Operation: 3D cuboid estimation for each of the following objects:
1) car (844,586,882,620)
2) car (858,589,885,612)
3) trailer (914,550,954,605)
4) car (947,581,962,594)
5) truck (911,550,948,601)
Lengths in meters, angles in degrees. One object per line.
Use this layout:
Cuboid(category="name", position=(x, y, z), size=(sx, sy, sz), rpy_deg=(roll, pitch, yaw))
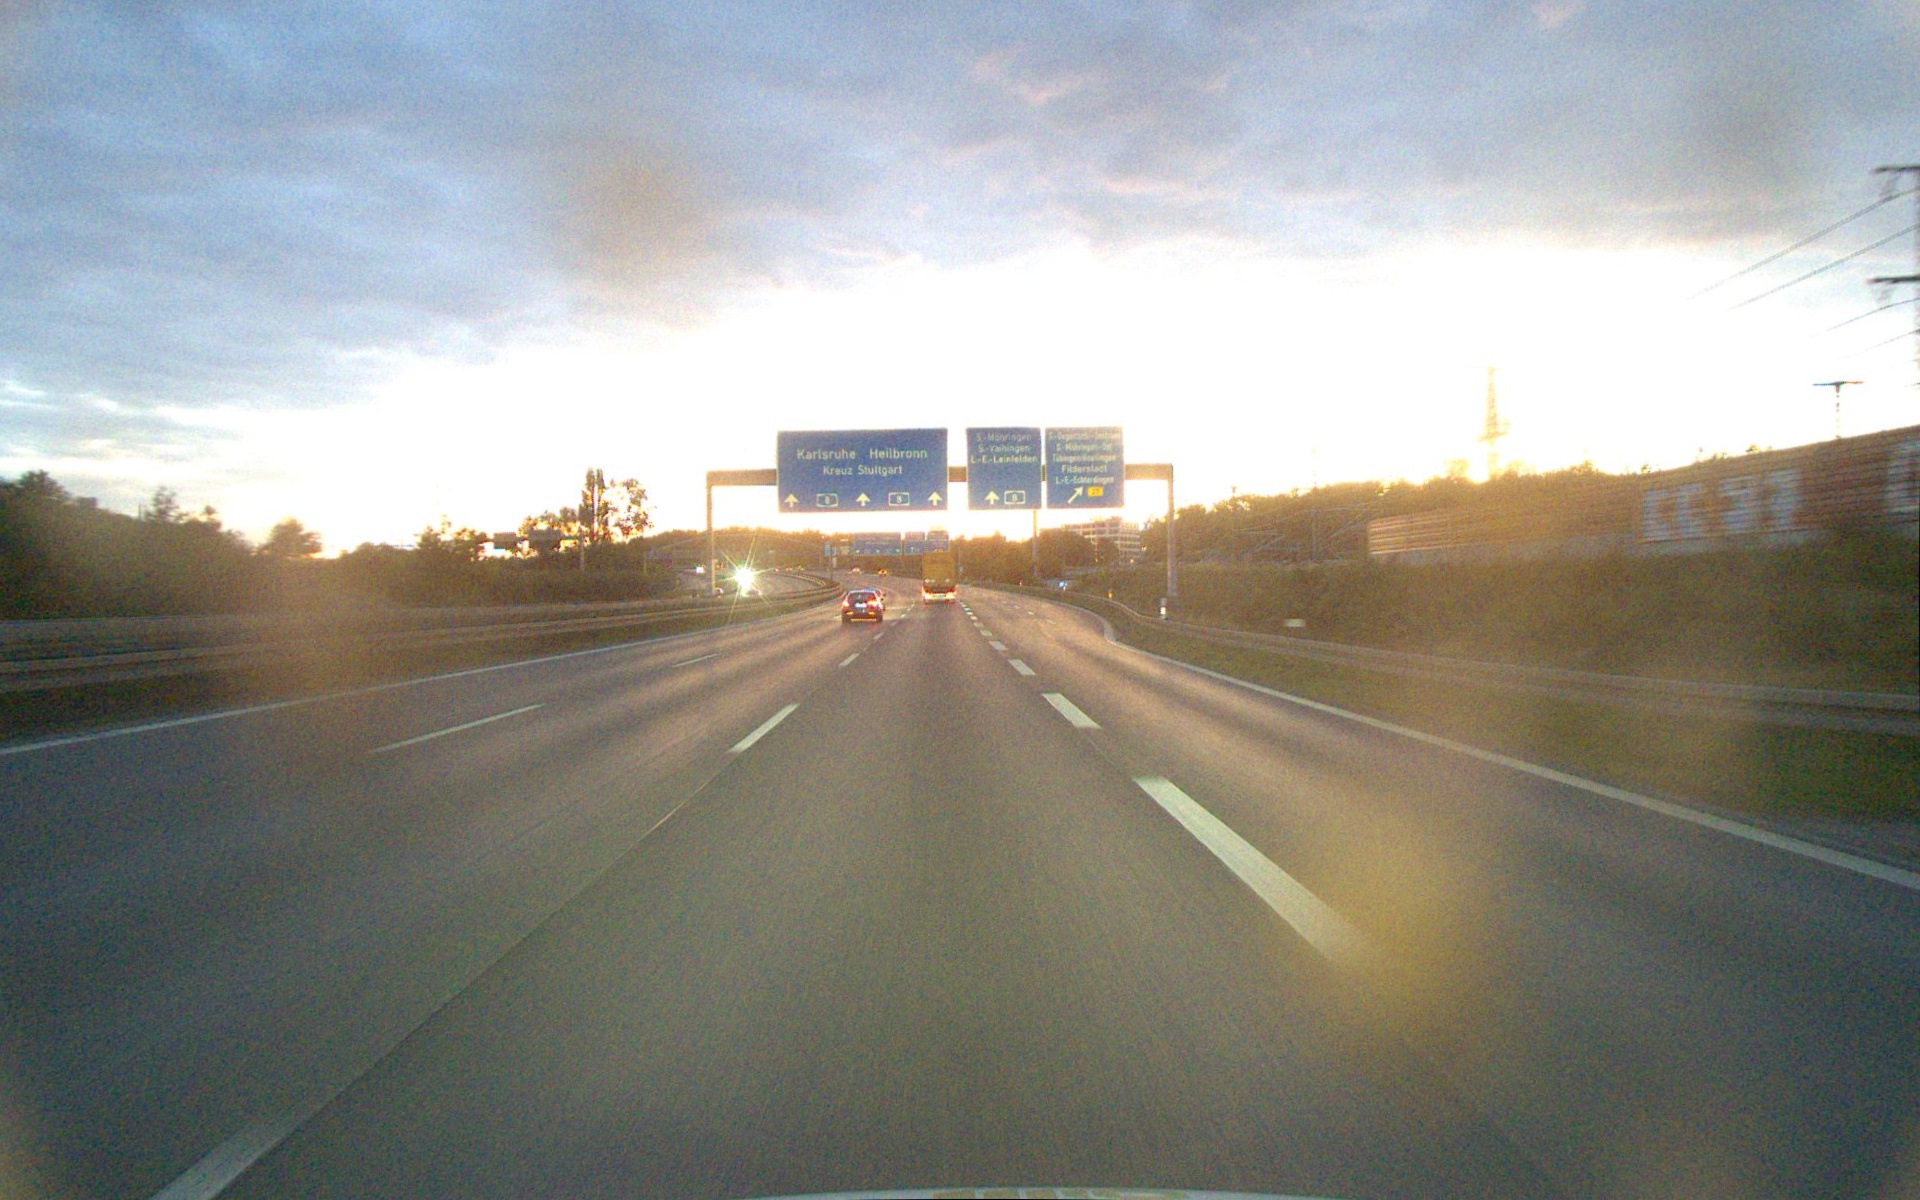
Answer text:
Cuboid(category="car", position=(-4.509, 0.129, 76.444), size=(1.656, 1.425, 3.405), rpy_deg=(-3, 0, -5))
Cuboid(category="car", position=(-5.767, 0.032, 107.942), size=(1.656, 1.425, 3.407), rpy_deg=(-4, 0, -2))
Cuboid(category="trailer", position=(-2.147, -1.861, 133.205), size=(2.668, 4.141, 8.827), rpy_deg=(-3, 2, -3))
Cuboid(category="car", position=(-0.878, -1.861, 245.841), size=(1.954, 1.881, 3.996), rpy_deg=(1, -1, -4))
Cuboid(category="truck", position=(-2.675, -2.183, 142.832), size=(2.637, 4.141, 10.515), rpy_deg=(-3, 2, -3))
